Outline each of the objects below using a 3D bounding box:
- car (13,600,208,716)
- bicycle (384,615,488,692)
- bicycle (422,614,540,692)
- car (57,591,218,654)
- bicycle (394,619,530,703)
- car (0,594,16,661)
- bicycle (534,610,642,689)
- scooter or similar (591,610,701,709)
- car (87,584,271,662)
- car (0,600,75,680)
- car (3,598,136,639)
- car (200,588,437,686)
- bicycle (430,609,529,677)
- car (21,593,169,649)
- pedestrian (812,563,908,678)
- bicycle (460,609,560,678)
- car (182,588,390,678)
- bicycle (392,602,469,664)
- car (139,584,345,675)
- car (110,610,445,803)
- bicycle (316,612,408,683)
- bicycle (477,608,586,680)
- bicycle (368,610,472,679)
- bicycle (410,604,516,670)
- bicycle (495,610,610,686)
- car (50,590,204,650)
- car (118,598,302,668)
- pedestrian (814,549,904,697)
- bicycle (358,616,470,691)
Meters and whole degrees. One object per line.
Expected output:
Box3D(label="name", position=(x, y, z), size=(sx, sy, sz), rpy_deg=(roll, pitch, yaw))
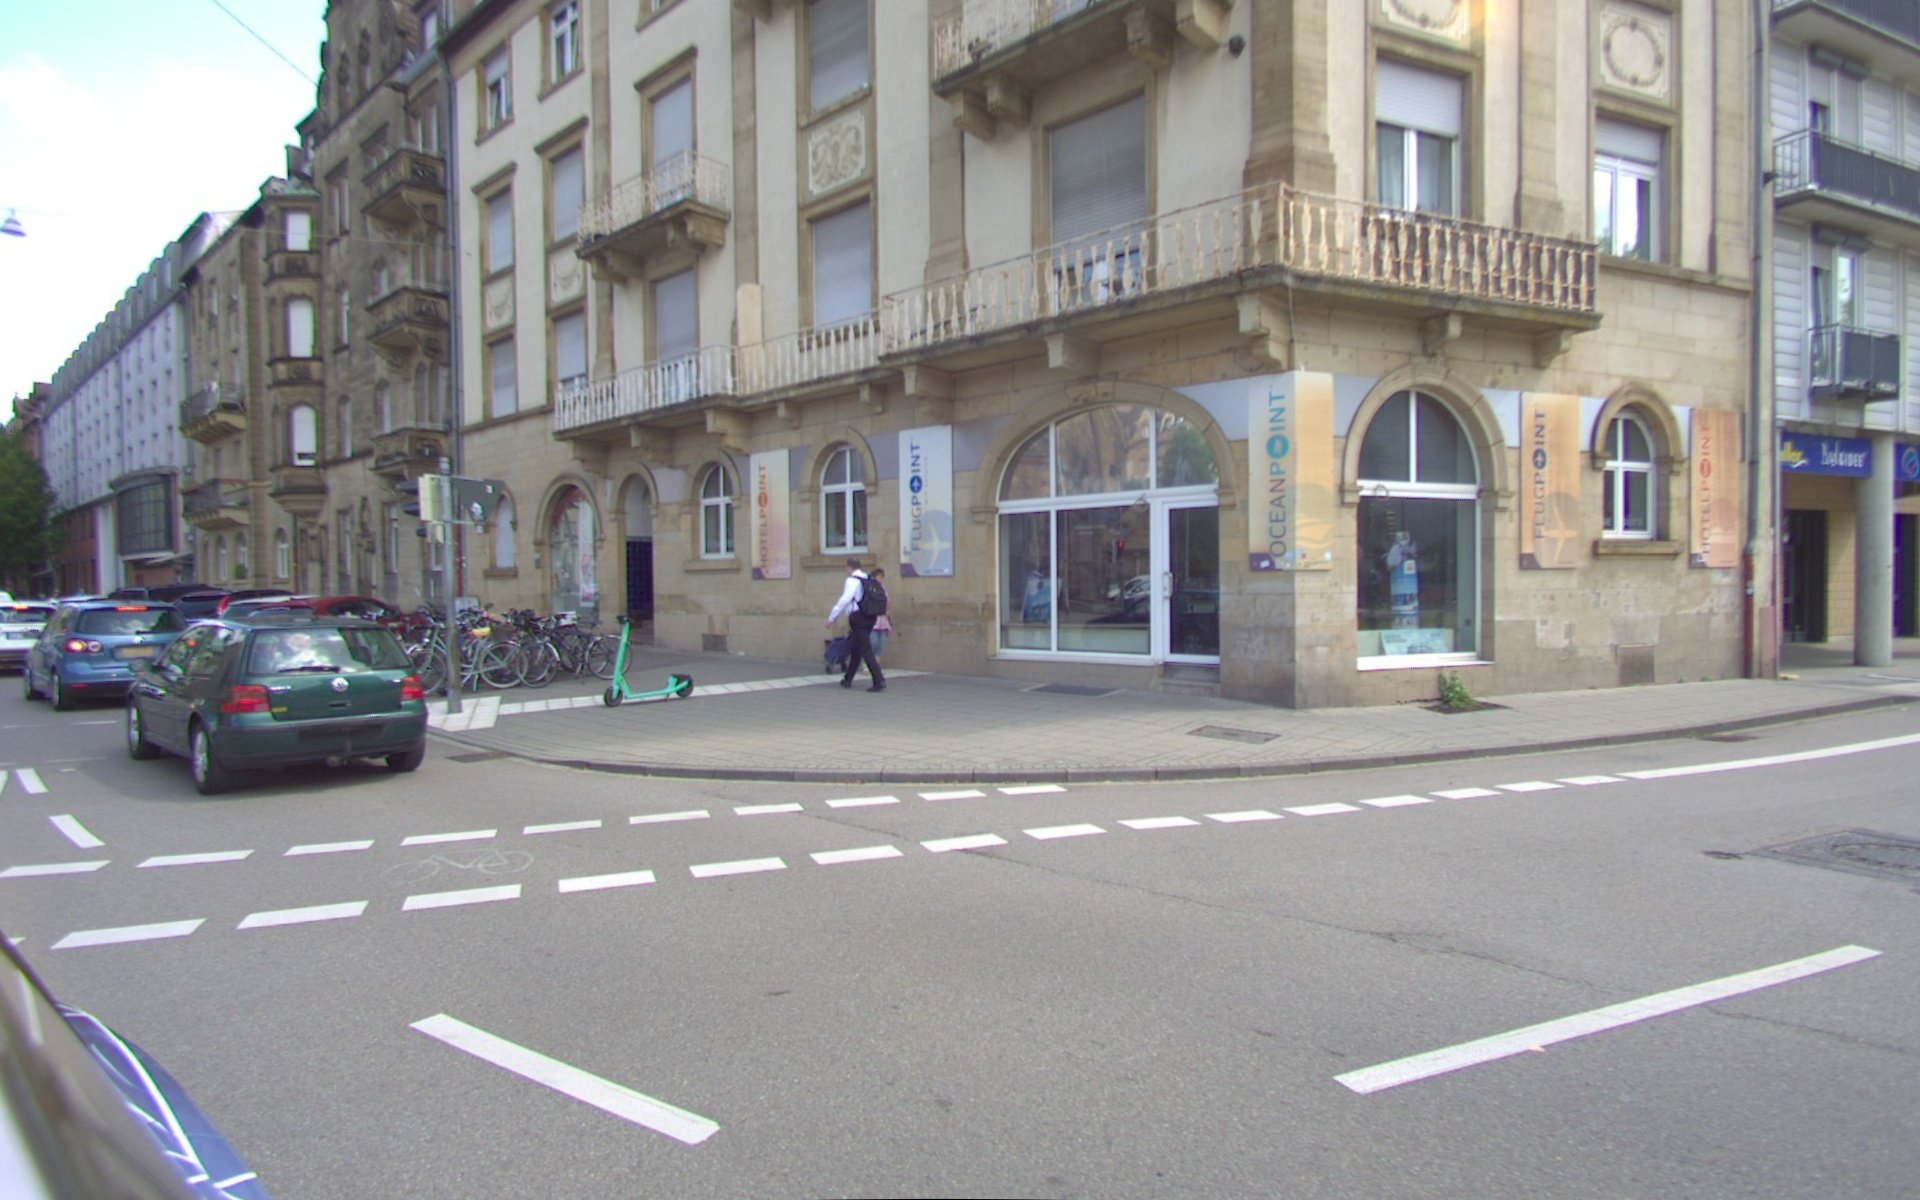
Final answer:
Box3D(label="car", position=(-13.190, 0.791, 15.635), size=(3.930, 1.552, 1.729), rpy_deg=(0, 1, 41))
Box3D(label="bicycle", position=(-8.322, 0.828, 16.112), size=(0.418, 1.059, 1.355), rpy_deg=(-1, 3, 40))
Box3D(label="bicycle", position=(-7.491, 0.810, 15.869), size=(1.558, 1.059, 0.481), rpy_deg=(-4, 3, -40))
Box3D(label="car", position=(-26.051, 0.651, 32.263), size=(1.708, 1.597, 3.952), rpy_deg=(-3, 4, 3))
Box3D(label="bicycle", position=(-7.342, 0.867, 14.951), size=(1.707, 1.059, 0.532), rpy_deg=(-4, 2, -32))
Box3D(label="car", position=(-27.658, 0.776, 28.047), size=(4.282, 1.789, 1.793), rpy_deg=(-1, -1, 42))
Box3D(label="bicycle", position=(-5.660, 0.733, 15.444), size=(1.420, 1.059, 0.481), rpy_deg=(-4, 3, -39))
Box3D(label="scooter or similar", position=(-4.080, 0.754, 13.175), size=(1.232, 1.154, 0.482), rpy_deg=(-4, 3, -30))
Box3D(label="car", position=(-21.708, 0.575, 28.343), size=(1.711, 1.881, 3.945), rpy_deg=(-2, 2, 8))
Box3D(label="car", position=(-20.663, 0.837, 21.826), size=(4.017, 1.594, 1.753), rpy_deg=(-1, 0, 40))
Box3D(label="car", position=(-35.081, 0.695, 40.011), size=(1.708, 1.485, 3.951), rpy_deg=(-1, 1, 3))
Box3D(label="car", position=(-12.174, 0.623, 19.560), size=(1.789, 1.467, 3.996), rpy_deg=(-3, 3, 4))
Box3D(label="bicycle", position=(-8.378, 0.728, 17.686), size=(0.462, 1.059, 1.465), rpy_deg=(-1, 3, 39))
Box3D(label="car", position=(-30.748, 0.702, 36.144), size=(1.708, 1.597, 3.952), rpy_deg=(-3, 3, 3))
Box3D(label="pedestrian", position=(-1.511, 0.284, 15.266), size=(0.996, 1.606, 0.931), rpy_deg=(0, 4, 43))
Box3D(label="bicycle", position=(-7.722, 0.724, 17.402), size=(0.462, 1.059, 1.464), rpy_deg=(-1, 3, 43))
Box3D(label="car", position=(-14.296, 0.626, 21.772), size=(1.708, 1.467, 3.954), rpy_deg=(-4, 3, 1))
Box3D(label="bicycle", position=(-10.417, 0.621, 19.979), size=(0.550, 1.059, 1.906), rpy_deg=(-3, 2, -3))
Box3D(label="car", position=(-16.553, 0.604, 23.608), size=(1.779, 1.702, 3.952), rpy_deg=(-3, 3, 3))
Box3D(label="car", position=(-6.519, 0.824, 9.519), size=(3.816, 1.444, 1.695), rpy_deg=(-1, -1, 41))
Box3D(label="bicycle", position=(-10.275, 0.791, 17.460), size=(0.549, 1.059, 1.814), rpy_deg=(-3, 2, -4))
Box3D(label="bicycle", position=(-7.146, 0.715, 16.920), size=(1.558, 1.059, 0.481), rpy_deg=(-4, 3, -40))
Box3D(label="bicycle", position=(-9.269, 0.745, 17.410), size=(0.462, 1.060, 1.465), rpy_deg=(-1, 2, 39))
Box3D(label="bicycle", position=(-9.091, 0.657, 18.574), size=(0.557, 1.059, 1.610), rpy_deg=(-1, 3, 41))
Box3D(label="bicycle", position=(-6.497, 0.741, 16.167), size=(1.589, 1.059, 0.481), rpy_deg=(-4, 3, -40))
Box3D(label="car", position=(-28.055, 0.631, 34.260), size=(1.708, 1.597, 3.953), rpy_deg=(-3, 4, 3))
Box3D(label="car", position=(-19.769, 0.813, 26.907), size=(1.709, 1.439, 3.950), rpy_deg=(-3, 2, 4))
Box3D(label="pedestrian", position=(-1.346, 0.260, 13.450), size=(0.905, 1.873, 0.794), rpy_deg=(3, 4, 42))
Box3D(label="bicycle", position=(-8.778, 0.842, 16.316), size=(0.462, 1.059, 1.464), rpy_deg=(-1, 3, 42))
